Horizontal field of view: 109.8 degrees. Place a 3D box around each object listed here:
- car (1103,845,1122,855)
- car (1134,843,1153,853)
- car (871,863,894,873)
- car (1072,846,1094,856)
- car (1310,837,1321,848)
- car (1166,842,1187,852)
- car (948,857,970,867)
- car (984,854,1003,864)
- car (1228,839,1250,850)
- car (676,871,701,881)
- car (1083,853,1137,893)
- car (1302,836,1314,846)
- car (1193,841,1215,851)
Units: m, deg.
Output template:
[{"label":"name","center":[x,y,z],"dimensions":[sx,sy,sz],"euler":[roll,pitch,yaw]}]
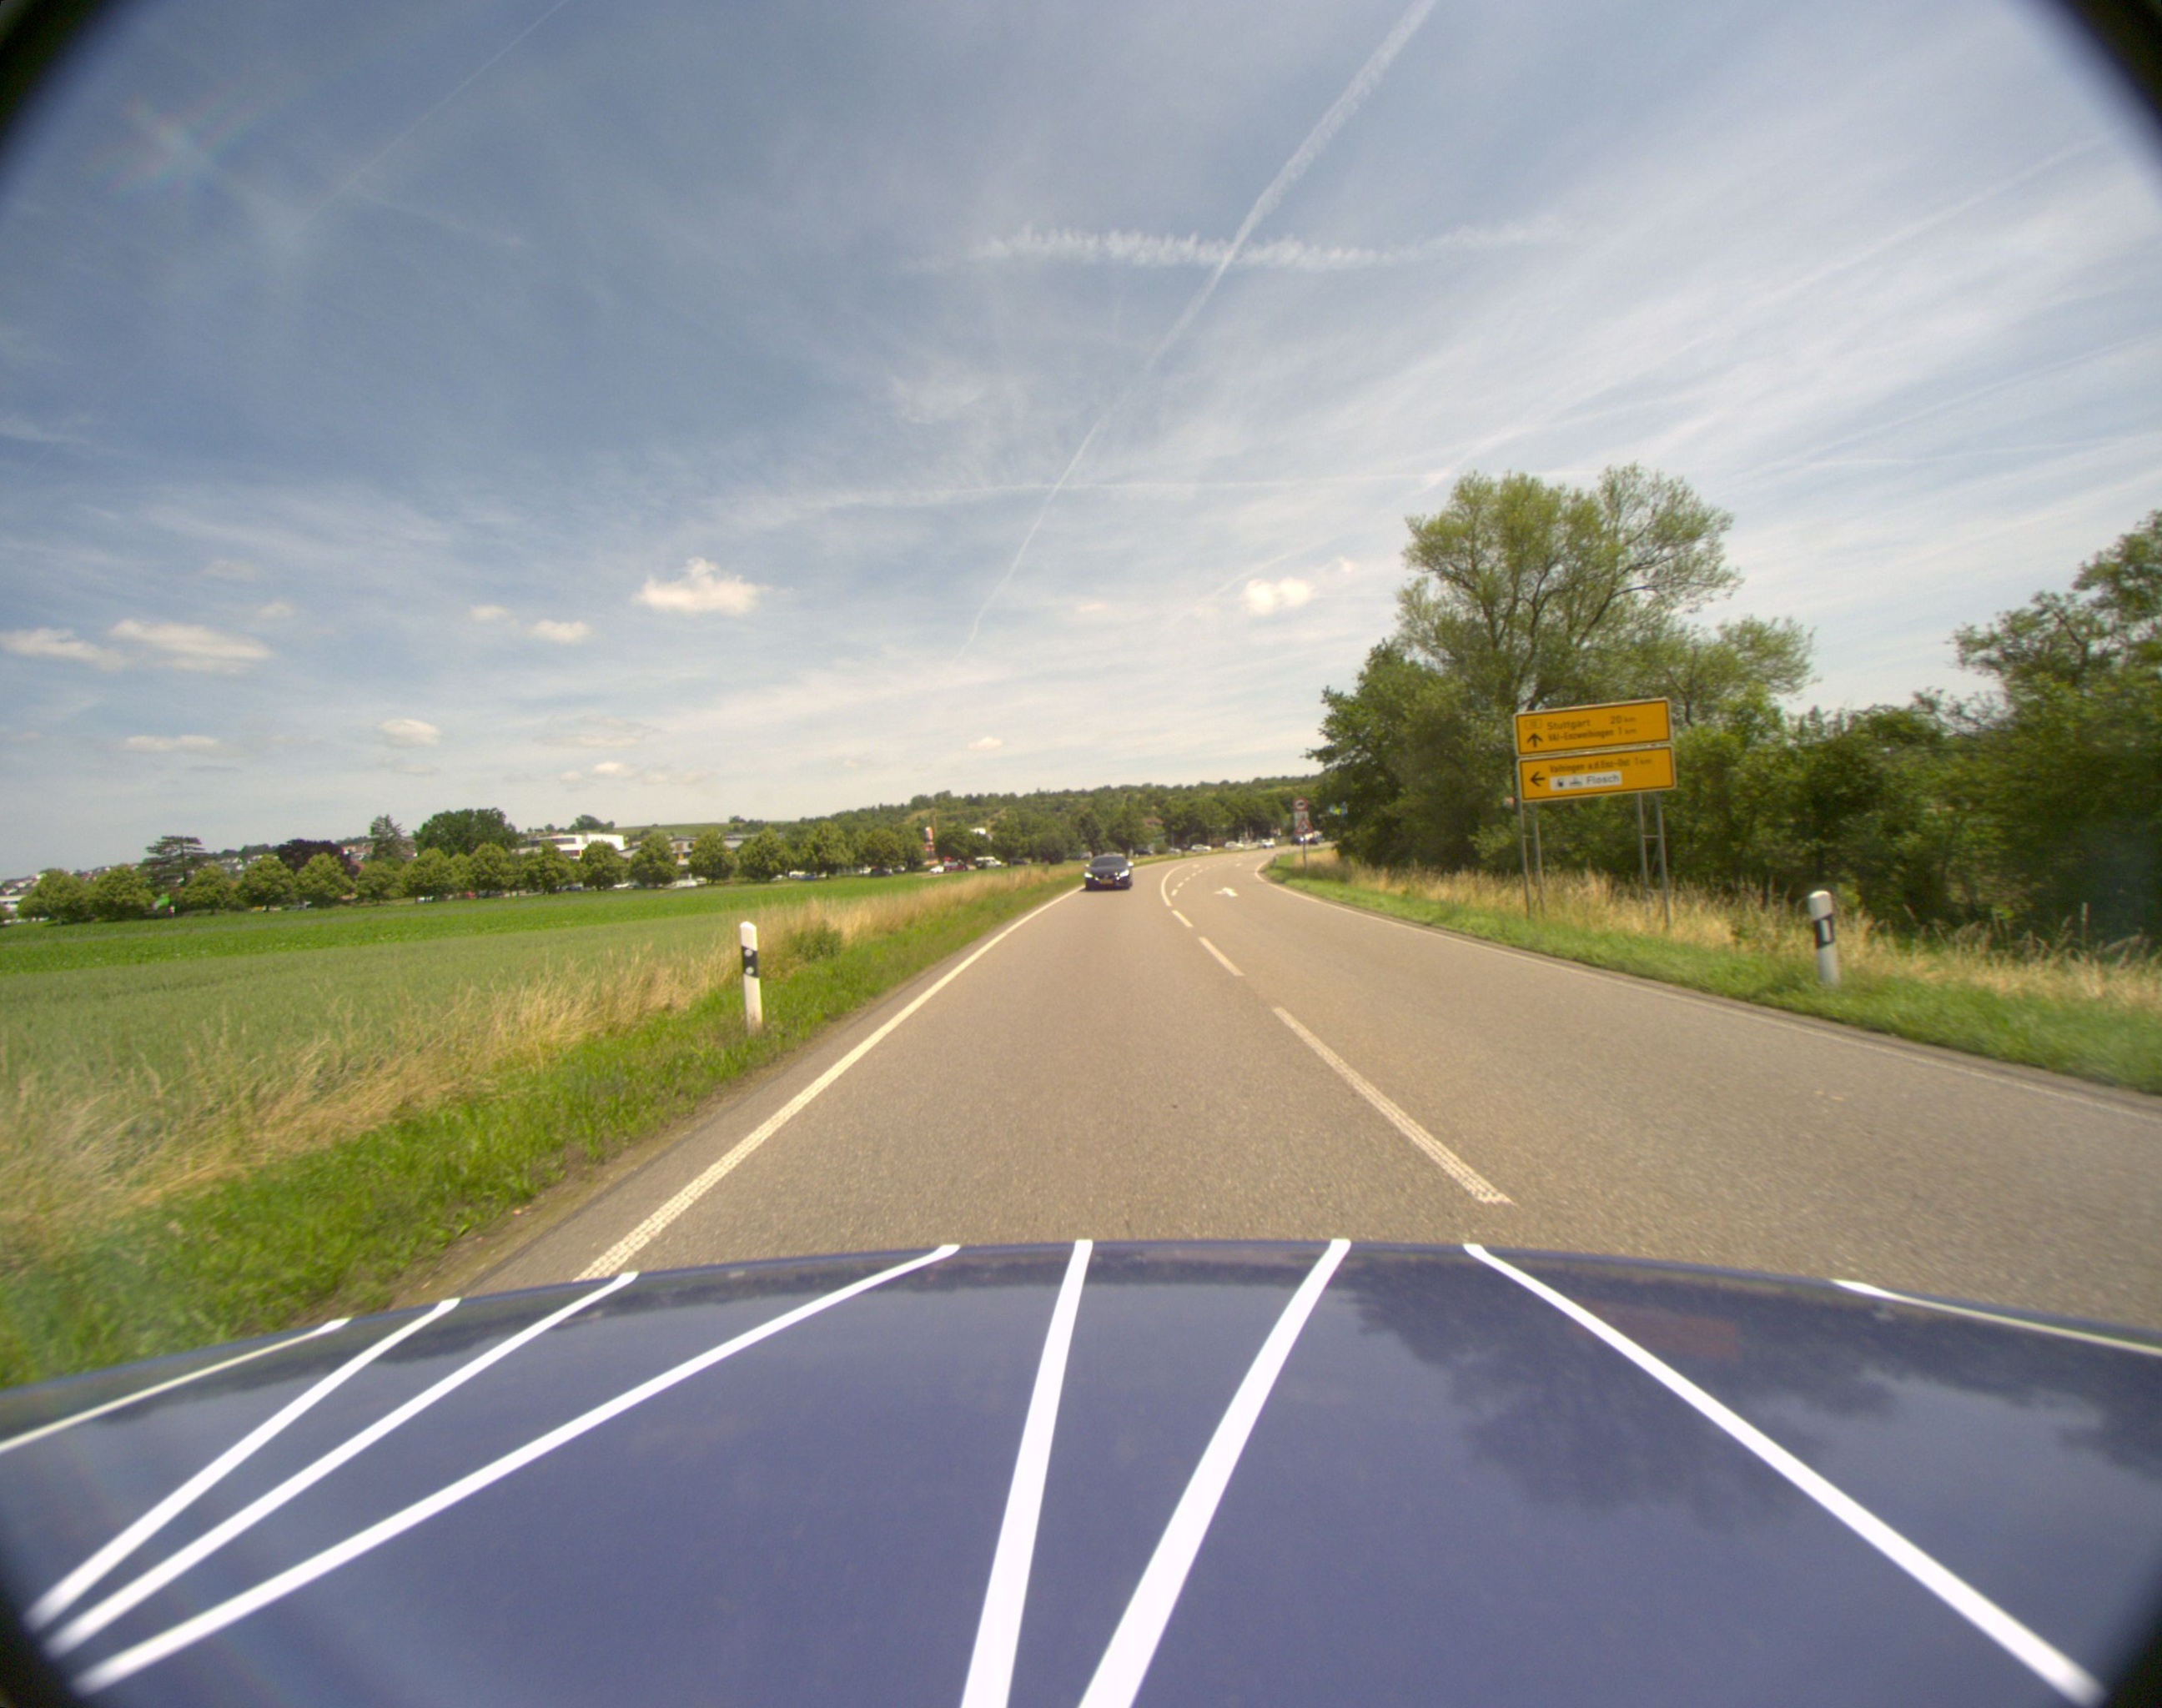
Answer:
[{"label":"car","center":[6.845,-0.875,164.412],"dimensions":[3.995,2.002,1.888],"euler":[-2,1,6]},{"label":"car","center":[13.460,-1.219,163.900],"dimensions":[3.995,2.002,1.888],"euler":[-2,1,6]},{"label":"car","center":[-43.189,3.001,165.711],"dimensions":[4.469,2.002,1.887],"euler":[-2,1,-4]},{"label":"car","center":[0.427,-0.745,163.766],"dimensions":[4.468,2.002,1.887],"euler":[-2,1,-1]},{"label":"car","center":[44.446,-2.273,144.001],"dimensions":[1.884,2.002,4.004],"euler":[-2,1,15]},{"label":"car","center":[20.198,-1.493,161.111],"dimensions":[3.990,2.002,1.891],"euler":[-2,1,25]},{"label":"car","center":[-26.586,1.695,165.864],"dimensions":[4.470,2.002,1.886],"euler":[-2,1,-6]},{"label":"car","center":[-19.074,1.057,165.989],"dimensions":[3.998,2.002,1.887],"euler":[-2,1,-4]},{"label":"car","center":[32.267,-1.928,155.039],"dimensions":[3.990,2.002,1.891],"euler":[-2,1,28]},{"label":"car","center":[-88.746,5.042,171.908],"dimensions":[4.468,2.002,1.887],"euler":[-2,1,-2]},{"label":"car","center":[1.298,0.745,31.882],"dimensions":[1.784,1.440,4.607],"euler":[-2,0,8]},{"label":"car","center":[45.284,-2.572,151.772],"dimensions":[1.885,2.002,4.003],"euler":[-2,0,10]},{"label":"car","center":[25.637,-1.655,158.224],"dimensions":[3.990,2.002,1.891],"euler":[-2,1,28]}]
